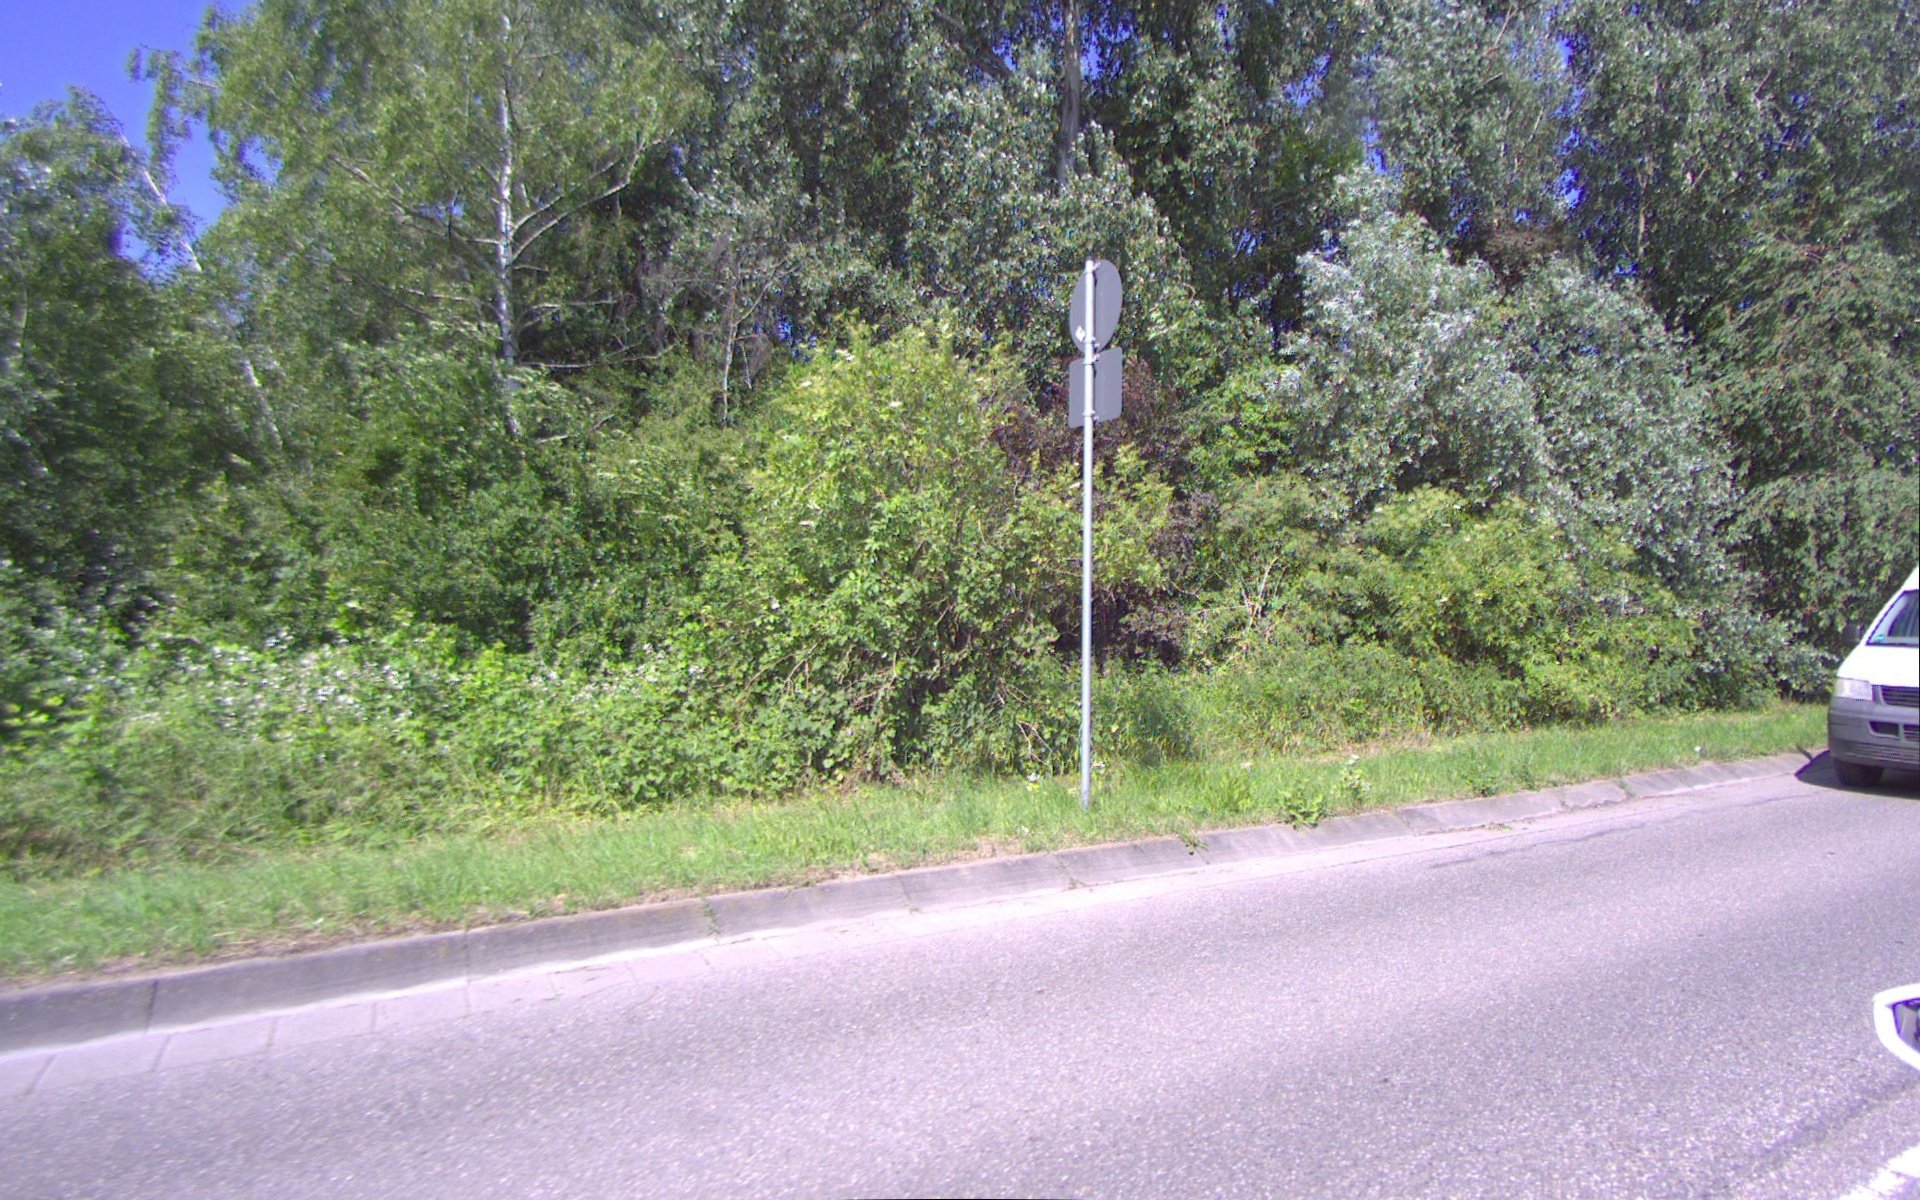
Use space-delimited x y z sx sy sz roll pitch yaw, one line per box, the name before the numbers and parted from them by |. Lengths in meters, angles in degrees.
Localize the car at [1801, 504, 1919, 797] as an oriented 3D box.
car | 10.099 0.455 9.440 4.854 2.432 1.902 1 -1 -31
